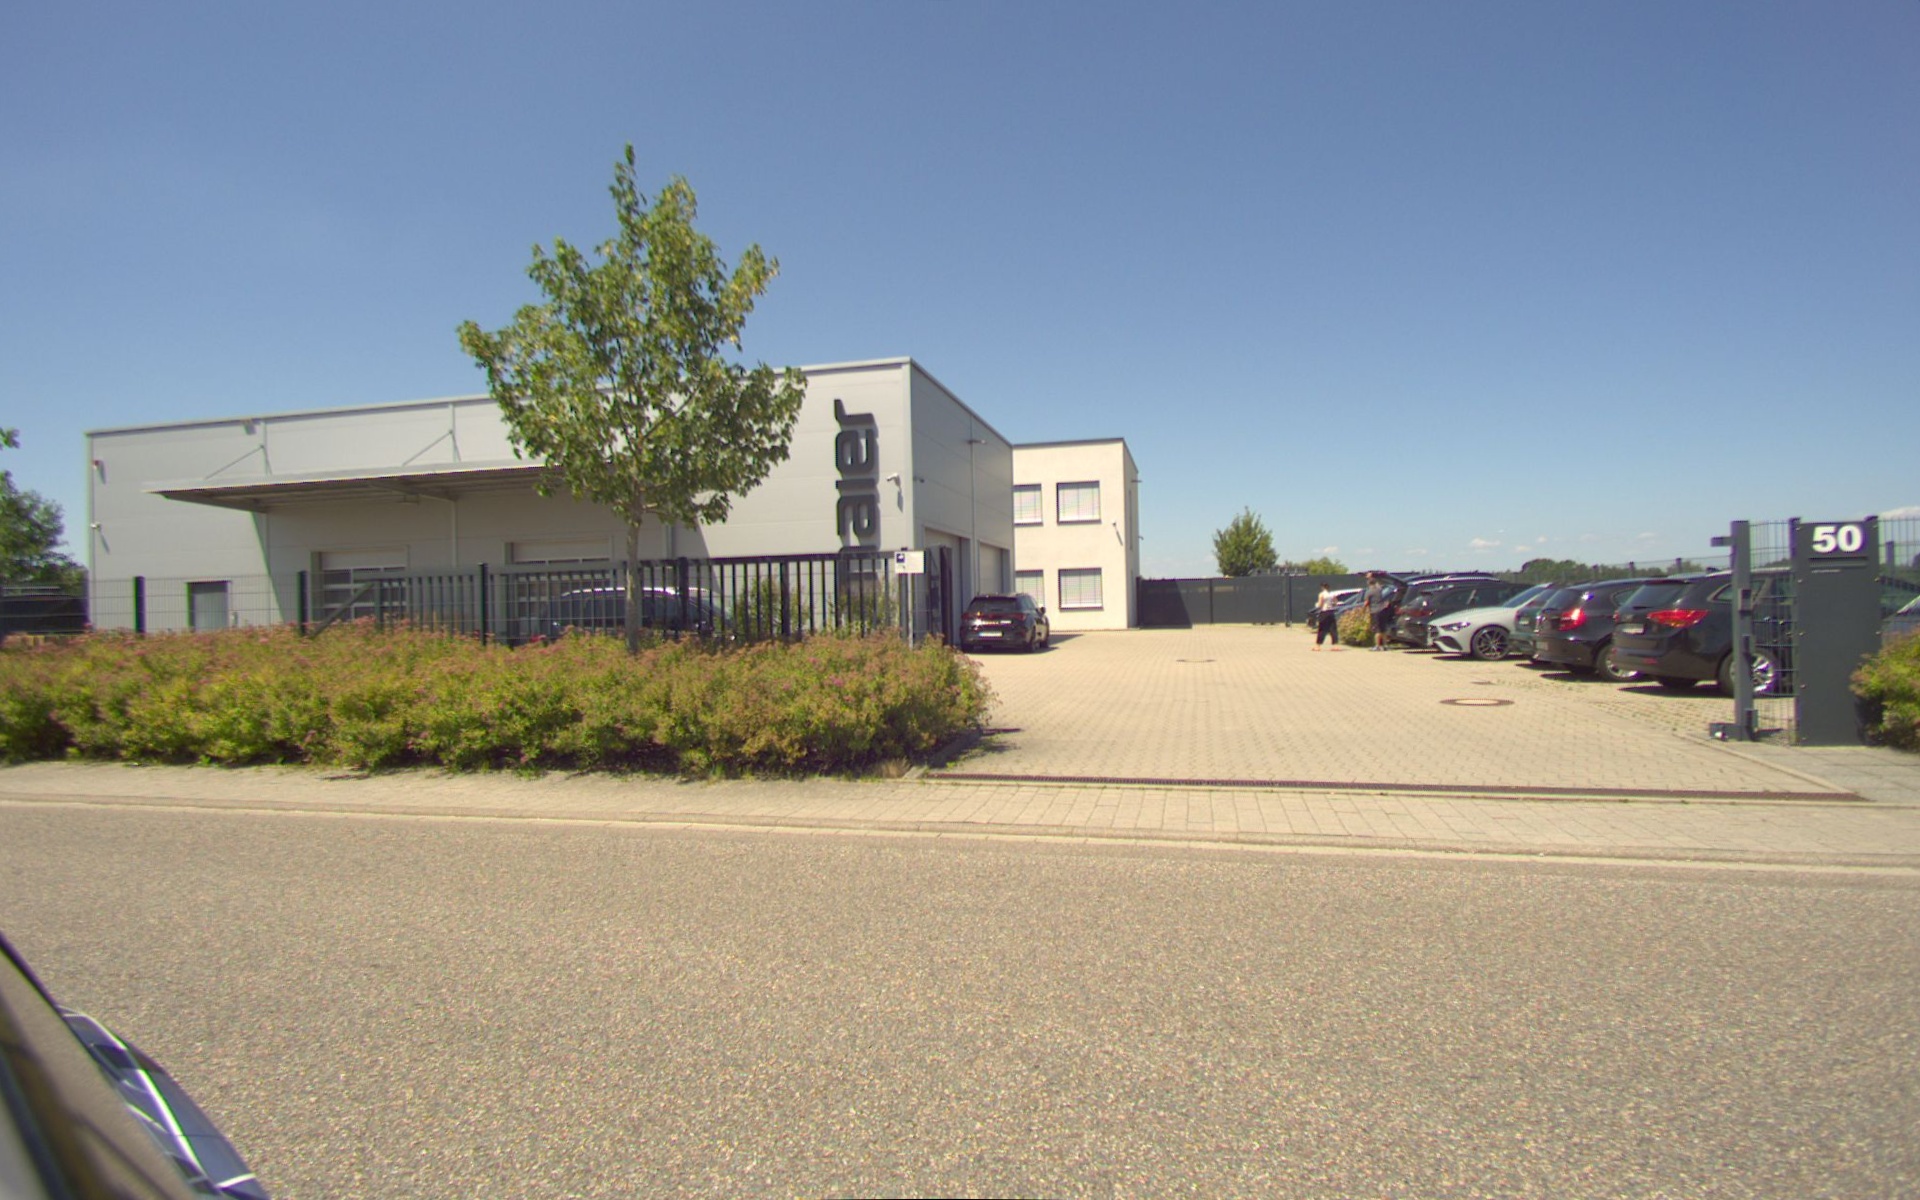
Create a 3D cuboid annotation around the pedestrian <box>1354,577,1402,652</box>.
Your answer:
[{"bbox_3d":[9.734,0.336,23.580,0.820,1.695,0.711,-2,0,6],"label":"pedestrian"}]

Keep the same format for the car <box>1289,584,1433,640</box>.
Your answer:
[{"bbox_3d":[12.640,0.375,32.122,3.958,1.617,1.671,-2,0,12],"label":"car"}]

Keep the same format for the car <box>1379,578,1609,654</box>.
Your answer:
[{"bbox_3d":[11.230,0.351,21.547,3.958,1.451,1.671,-2,-1,12],"label":"car"}]

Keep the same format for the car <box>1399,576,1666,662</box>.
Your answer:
[{"bbox_3d":[10.576,0.365,18.989,3.958,1.451,1.671,-2,-1,12],"label":"car"}]

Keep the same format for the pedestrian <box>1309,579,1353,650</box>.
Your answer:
[{"bbox_3d":[8.821,0.349,24.074,0.764,1.641,0.621,-2,0,0],"label":"pedestrian"}]

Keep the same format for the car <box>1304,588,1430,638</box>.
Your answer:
[{"bbox_3d":[14.746,0.462,36.920,3.962,1.696,1.991,-2,0,14],"label":"car"}]

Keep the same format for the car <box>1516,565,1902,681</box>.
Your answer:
[{"bbox_3d":[10.433,0.335,14.435,3.958,1.451,1.801,-2,-1,12],"label":"car"}]

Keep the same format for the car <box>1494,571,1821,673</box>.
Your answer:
[{"bbox_3d":[11.095,0.364,16.387,3.958,1.451,1.671,-2,-1,12],"label":"car"}]

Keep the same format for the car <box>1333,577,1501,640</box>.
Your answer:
[{"bbox_3d":[12.741,0.245,28.444,3.958,1.617,1.671,-2,0,12],"label":"car"}]

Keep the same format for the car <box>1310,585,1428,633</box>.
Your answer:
[{"bbox_3d":[15.840,0.345,39.446,3.962,1.696,1.991,-2,0,14],"label":"car"}]

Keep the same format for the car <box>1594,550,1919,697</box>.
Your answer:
[{"bbox_3d":[10.081,0.260,11.914,3.958,1.553,1.824,-2,-1,12],"label":"car"}]

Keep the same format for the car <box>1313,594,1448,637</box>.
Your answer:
[{"bbox_3d":[14.251,0.518,34.531,3.962,1.320,1.991,-2,0,14],"label":"car"}]

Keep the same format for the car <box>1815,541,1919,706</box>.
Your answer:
[{"bbox_3d":[10.473,0.178,9.695,2.966,1.532,1.699,-2,-1,12],"label":"car"}]

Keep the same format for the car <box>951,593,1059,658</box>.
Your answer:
[{"bbox_3d":[1.171,0.573,24.459,1.781,1.431,3.851,-1,0,15],"label":"car"}]

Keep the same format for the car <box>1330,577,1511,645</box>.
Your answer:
[{"bbox_3d":[11.979,0.302,26.556,3.958,1.617,1.671,-2,-1,12],"label":"car"}]

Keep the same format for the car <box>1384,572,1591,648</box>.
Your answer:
[{"bbox_3d":[12.346,0.247,23.947,3.958,1.617,1.671,-2,-1,12],"label":"car"}]

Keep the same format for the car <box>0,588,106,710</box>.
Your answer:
[{"bbox_3d":[-18.864,0.917,19.004,4.651,2.114,1.998,-2,1,16],"label":"car"}]

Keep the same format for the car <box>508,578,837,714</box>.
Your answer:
[{"bbox_3d":[-4.030,0.633,14.404,4.054,1.736,1.990,-2,0,16],"label":"car"}]
